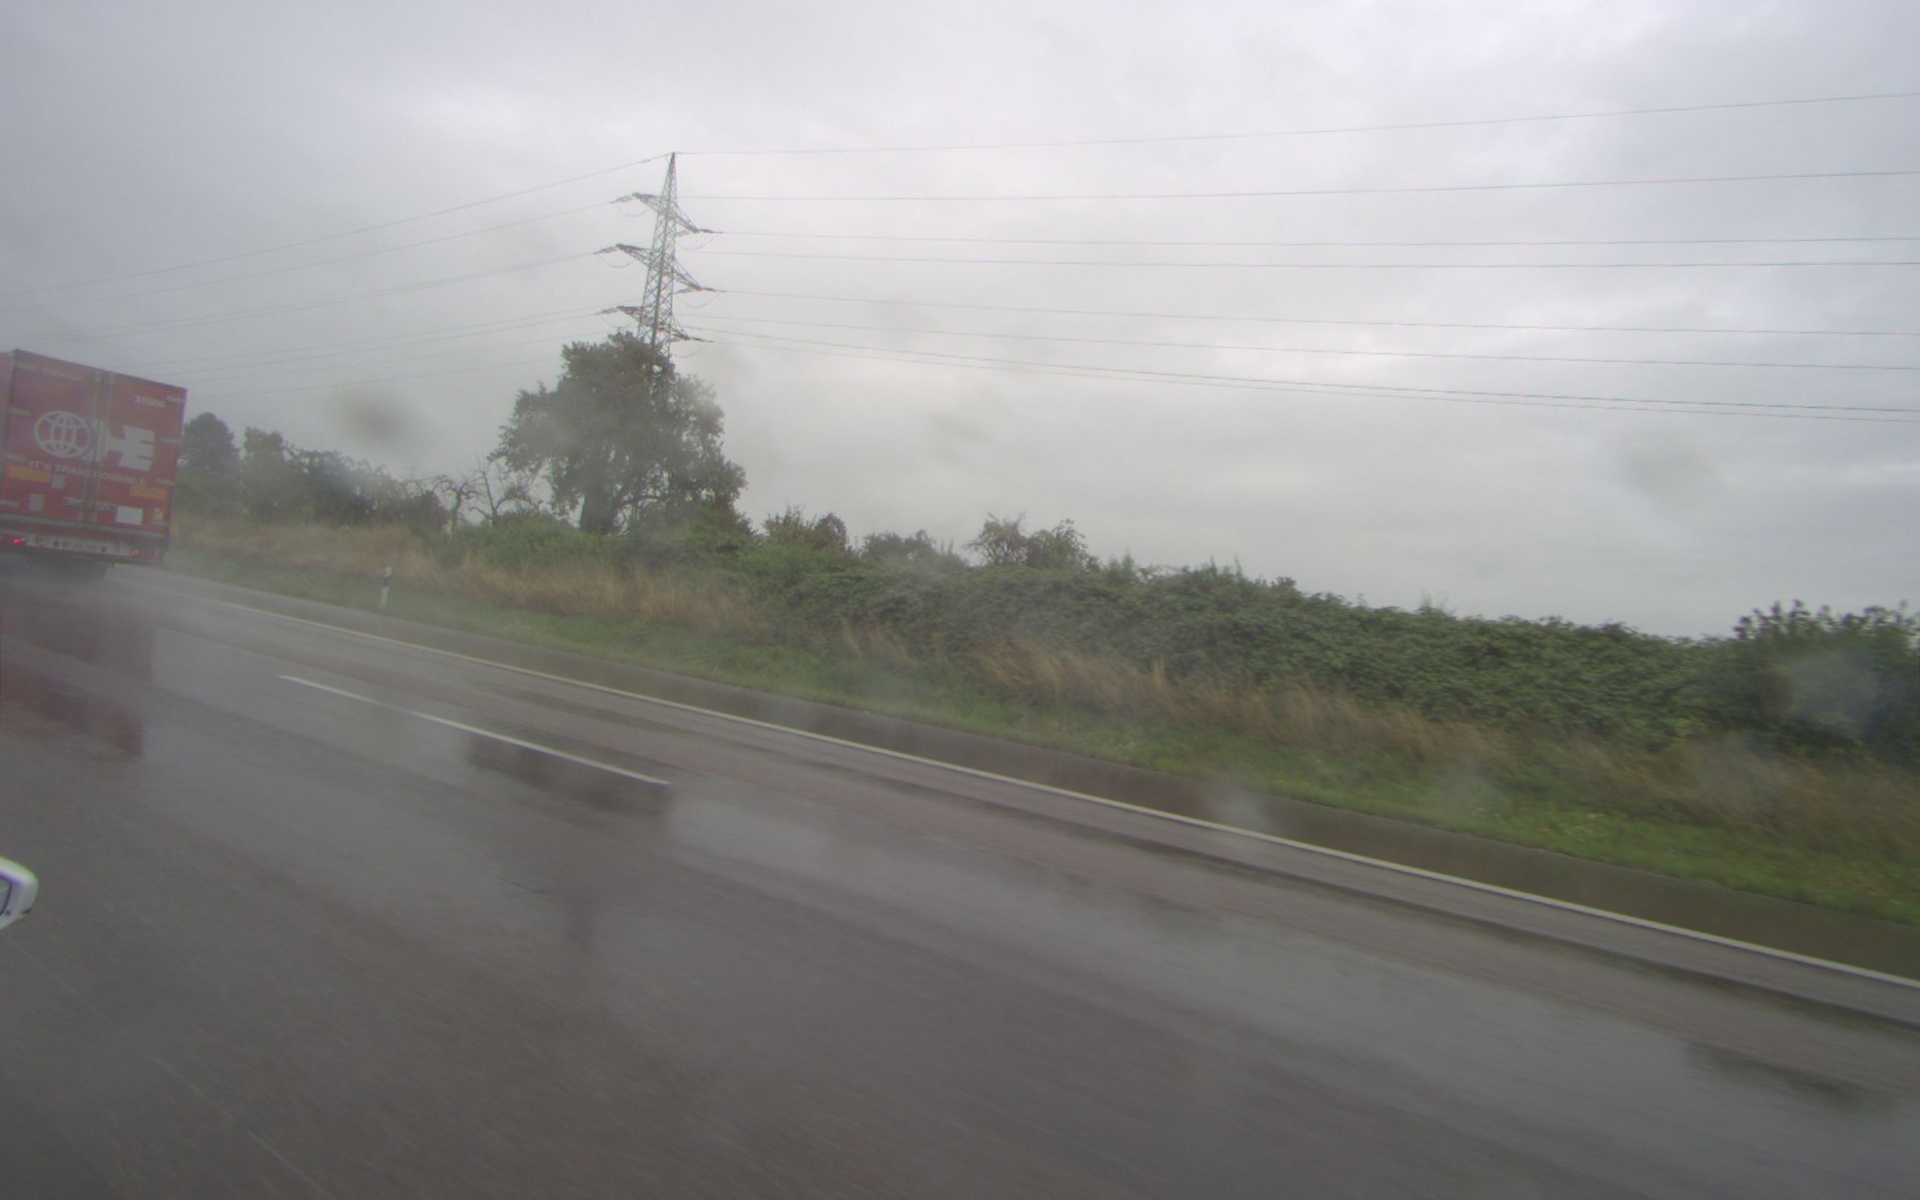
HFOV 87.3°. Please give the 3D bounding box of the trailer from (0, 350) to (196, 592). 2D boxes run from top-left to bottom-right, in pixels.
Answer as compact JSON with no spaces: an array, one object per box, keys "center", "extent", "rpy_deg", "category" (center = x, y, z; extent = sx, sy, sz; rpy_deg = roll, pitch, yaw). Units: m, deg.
[{"center":[-21.575,-2.902,21.853],"extent":[13.398,4.004,2.624],"rpy_deg":[7,0,30],"category":"trailer"}]
